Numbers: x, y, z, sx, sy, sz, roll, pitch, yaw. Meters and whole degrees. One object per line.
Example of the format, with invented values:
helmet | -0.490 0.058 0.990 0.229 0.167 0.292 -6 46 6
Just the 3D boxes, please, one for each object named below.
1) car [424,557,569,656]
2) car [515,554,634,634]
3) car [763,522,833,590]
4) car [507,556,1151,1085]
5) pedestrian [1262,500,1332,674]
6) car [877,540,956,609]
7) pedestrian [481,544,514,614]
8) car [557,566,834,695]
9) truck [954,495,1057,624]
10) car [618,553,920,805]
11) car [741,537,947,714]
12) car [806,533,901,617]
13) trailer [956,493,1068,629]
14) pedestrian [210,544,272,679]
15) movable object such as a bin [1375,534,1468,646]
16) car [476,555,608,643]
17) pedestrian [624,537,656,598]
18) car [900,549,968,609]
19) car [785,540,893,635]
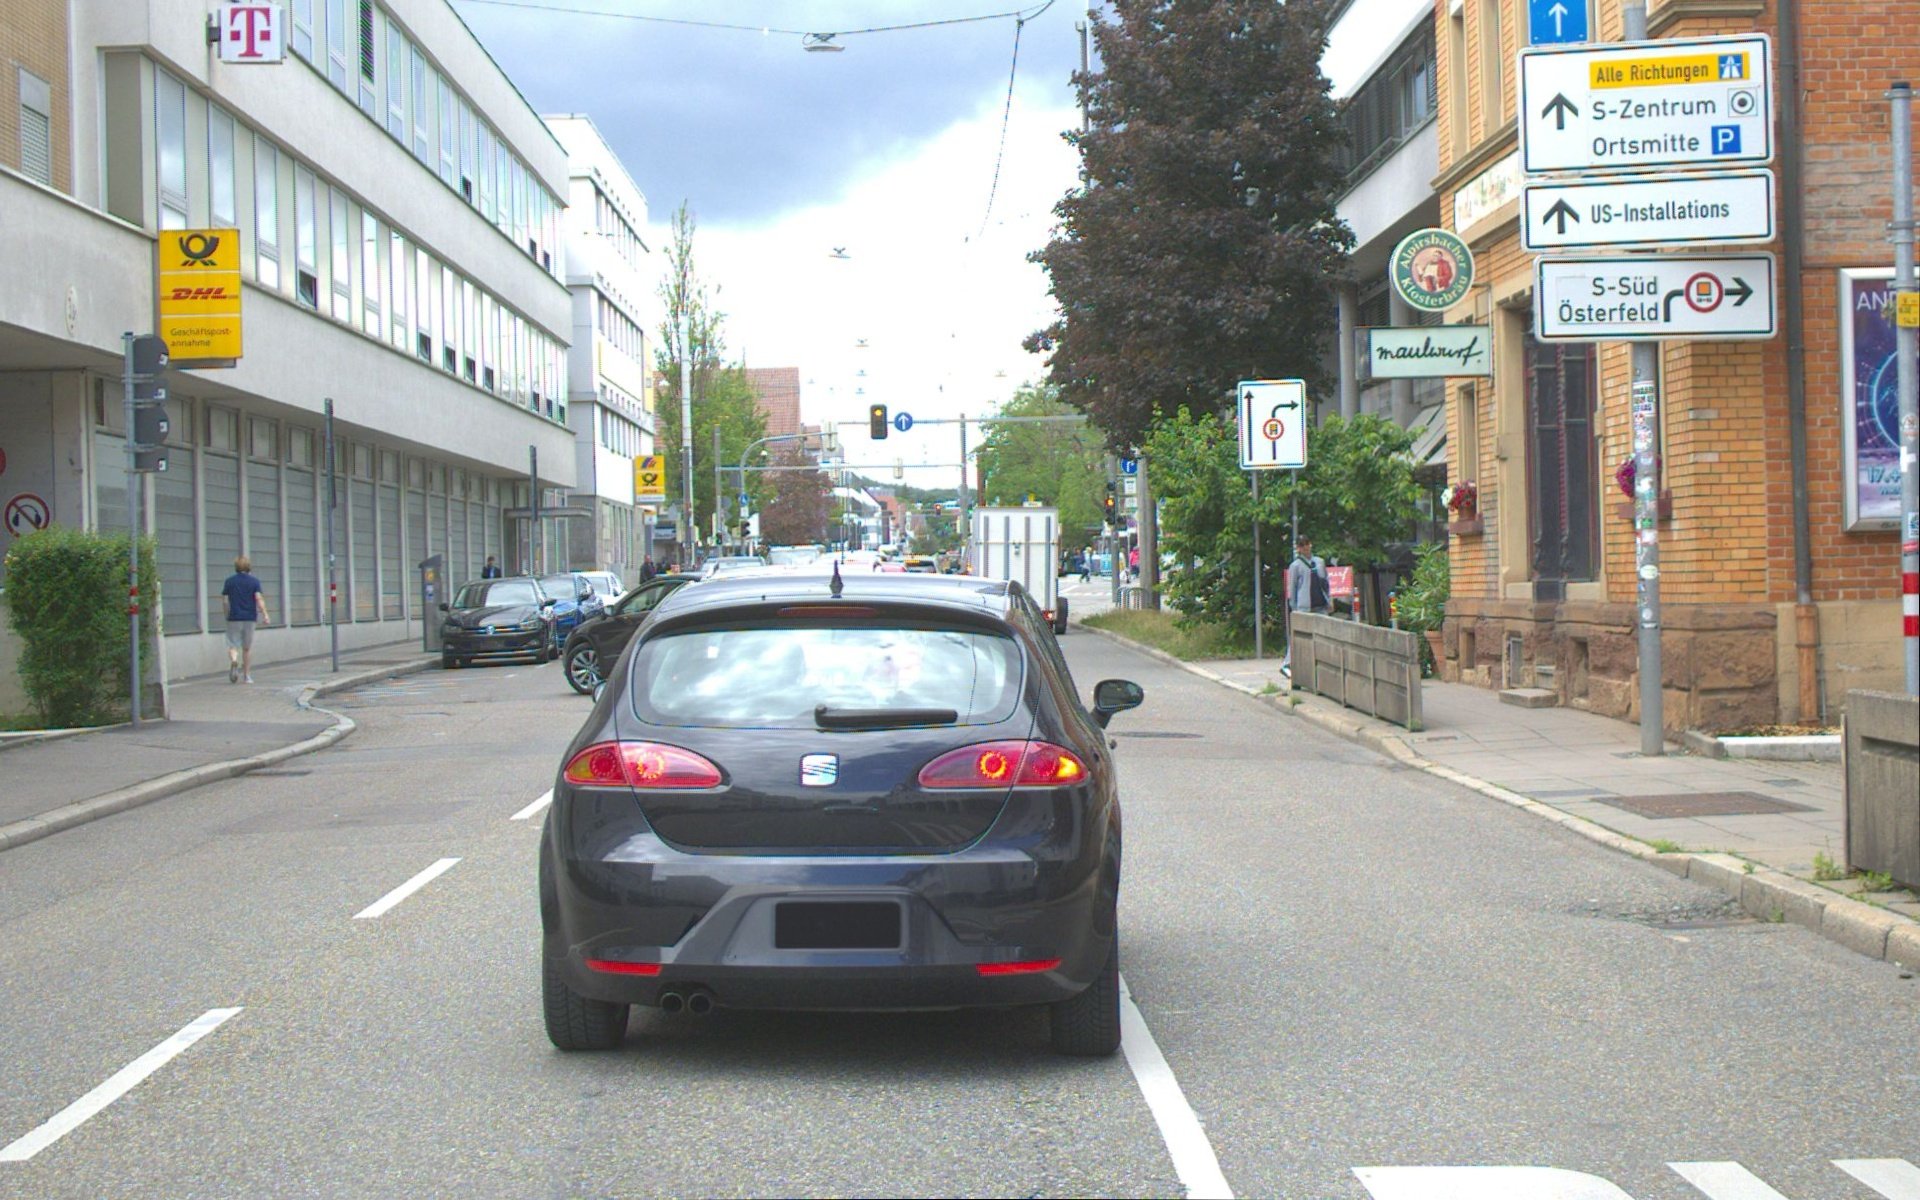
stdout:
car | -7.689 0.078 57.375 1.912 1.511 4.175 -2 1 -1
car | -7.700 -0.143 68.946 1.993 1.511 4.175 -1 1 -1
car | -5.008 -1.374 106.885 1.993 2.007 4.903 -2 1 -1
car | -0.389 0.587 11.459 1.765 1.428 3.828 -1 1 -1
pedestrian | 3.962 -0.160 40.442 0.693 2.007 0.677 -1 1 -2
car | -1.049 -0.622 81.438 1.803 1.596 3.738 0 1 -1
pedestrian | -10.908 -0.497 81.135 0.656 1.617 0.681 -1 1 0
car | -3.105 0.308 39.456 1.779 1.361 4.414 -1 1 -24
truck | 0.928 -0.846 71.884 1.993 2.598 3.260 -1 1 -1
car | -1.203 0.453 22.703 1.803 1.487 3.738 -1 1 -1
car | -1.075 0.198 32.420 1.803 1.547 3.738 -1 1 -1
car | -2.085 -0.502 67.670 1.803 1.596 3.738 0 1 -1
trailer | 0.997 -0.796 69.117 1.993 2.598 5.350 -1 1 -1
pedestrian | -9.538 0.148 45.595 0.642 1.763 0.810 -1 1 -2
movable object such as a bin | 6.337 -0.143 47.287 0.943 1.465 1.446 -3 1 -3
car | -7.642 -0.043 63.241 1.993 1.511 4.175 -1 1 -1
pedestrian | -9.902 -0.996 106.339 0.918 1.862 0.783 -1 1 -1
car | -0.724 -0.590 94.136 1.803 1.596 3.738 0 1 -1
car | -2.082 -0.244 59.729 1.803 1.596 3.738 0 1 -1
